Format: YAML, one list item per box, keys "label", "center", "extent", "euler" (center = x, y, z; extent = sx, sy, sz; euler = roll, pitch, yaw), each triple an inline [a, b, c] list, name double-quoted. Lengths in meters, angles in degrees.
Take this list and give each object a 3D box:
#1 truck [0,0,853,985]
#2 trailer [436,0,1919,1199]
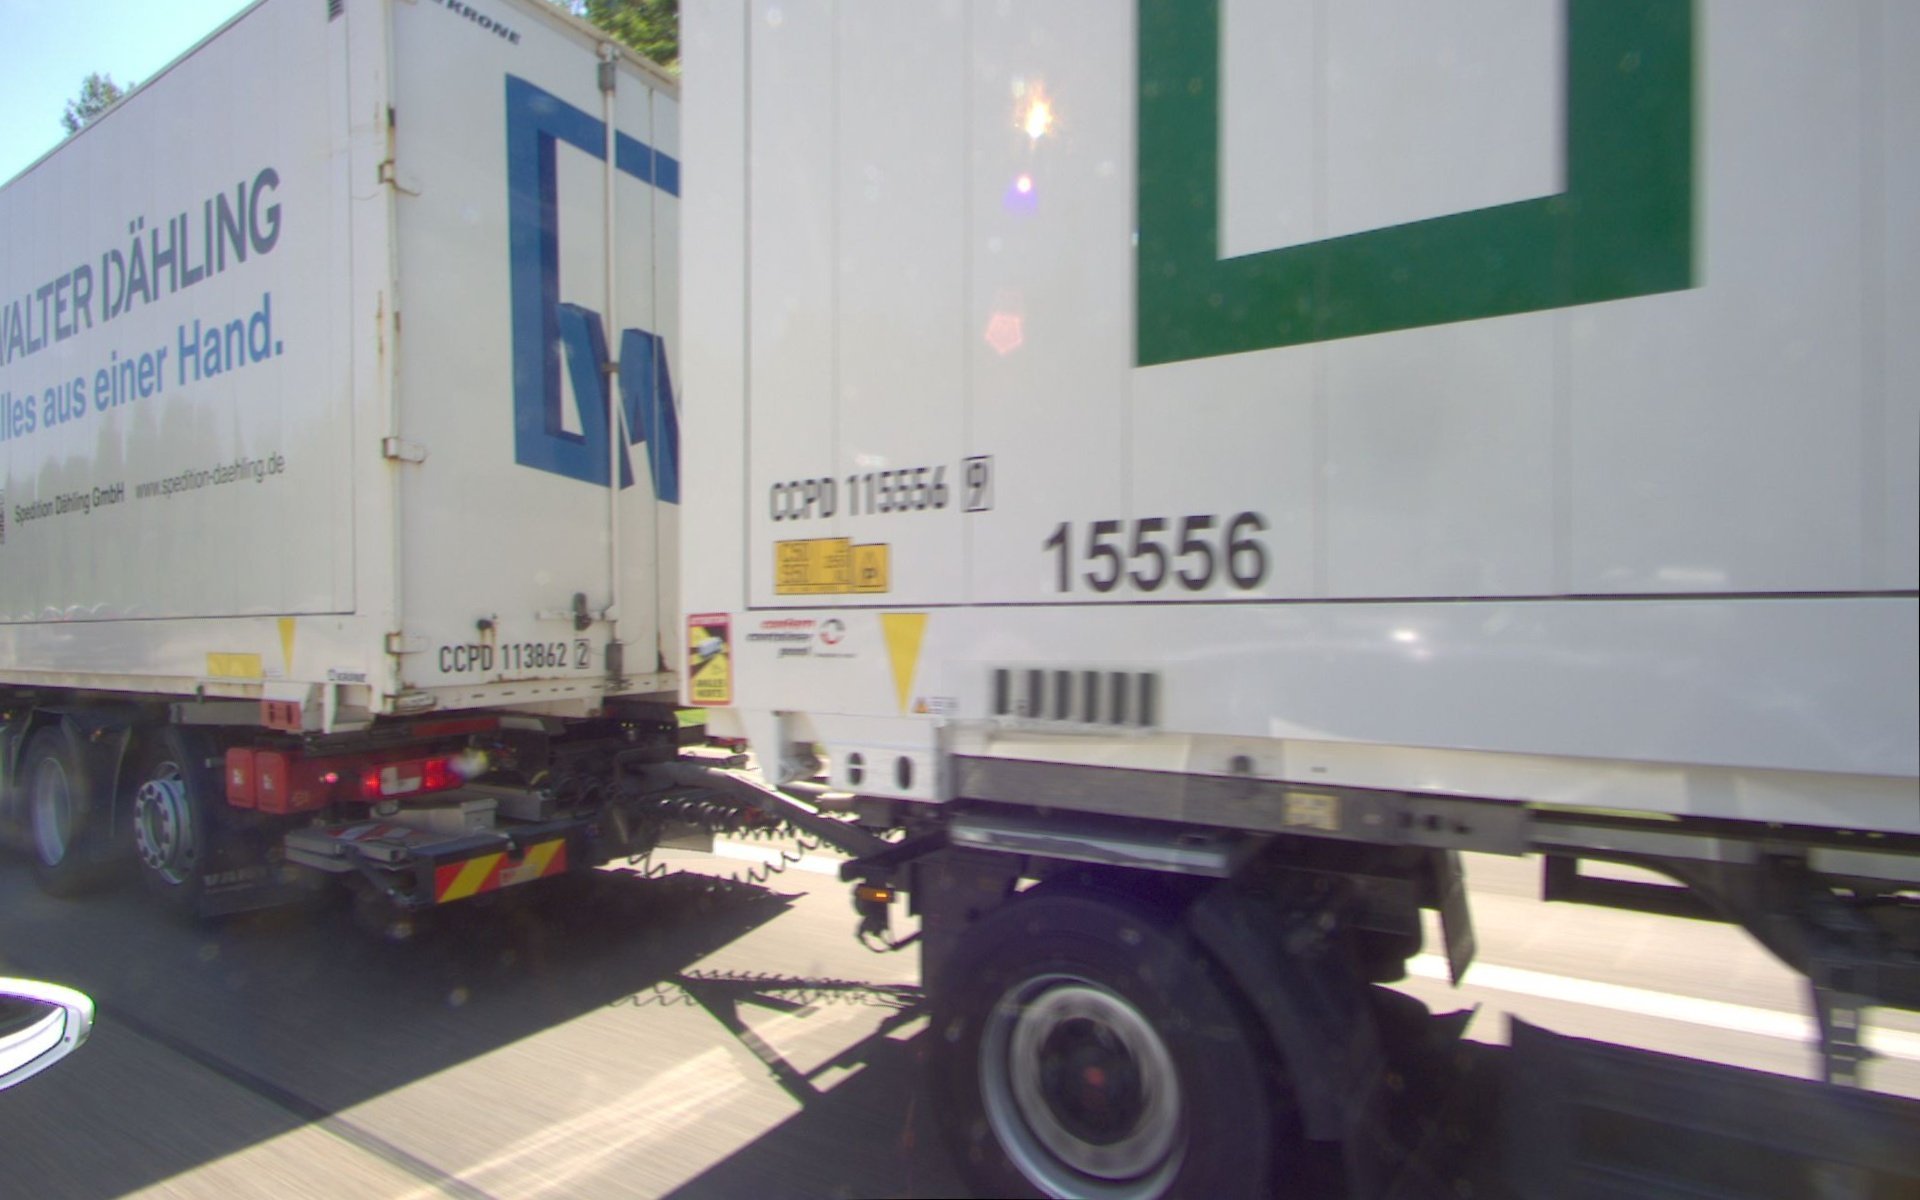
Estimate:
- label: "truck"
  center: [-5.753, -0.696, 7.482]
  extent: [10.473, 4.112, 2.675]
  euler: [0, -1, 33]
- label: "trailer"
  center: [3.198, -0.634, 1.796]
  extent: [9.919, 4.230, 2.675]
  euler: [0, -1, 32]
